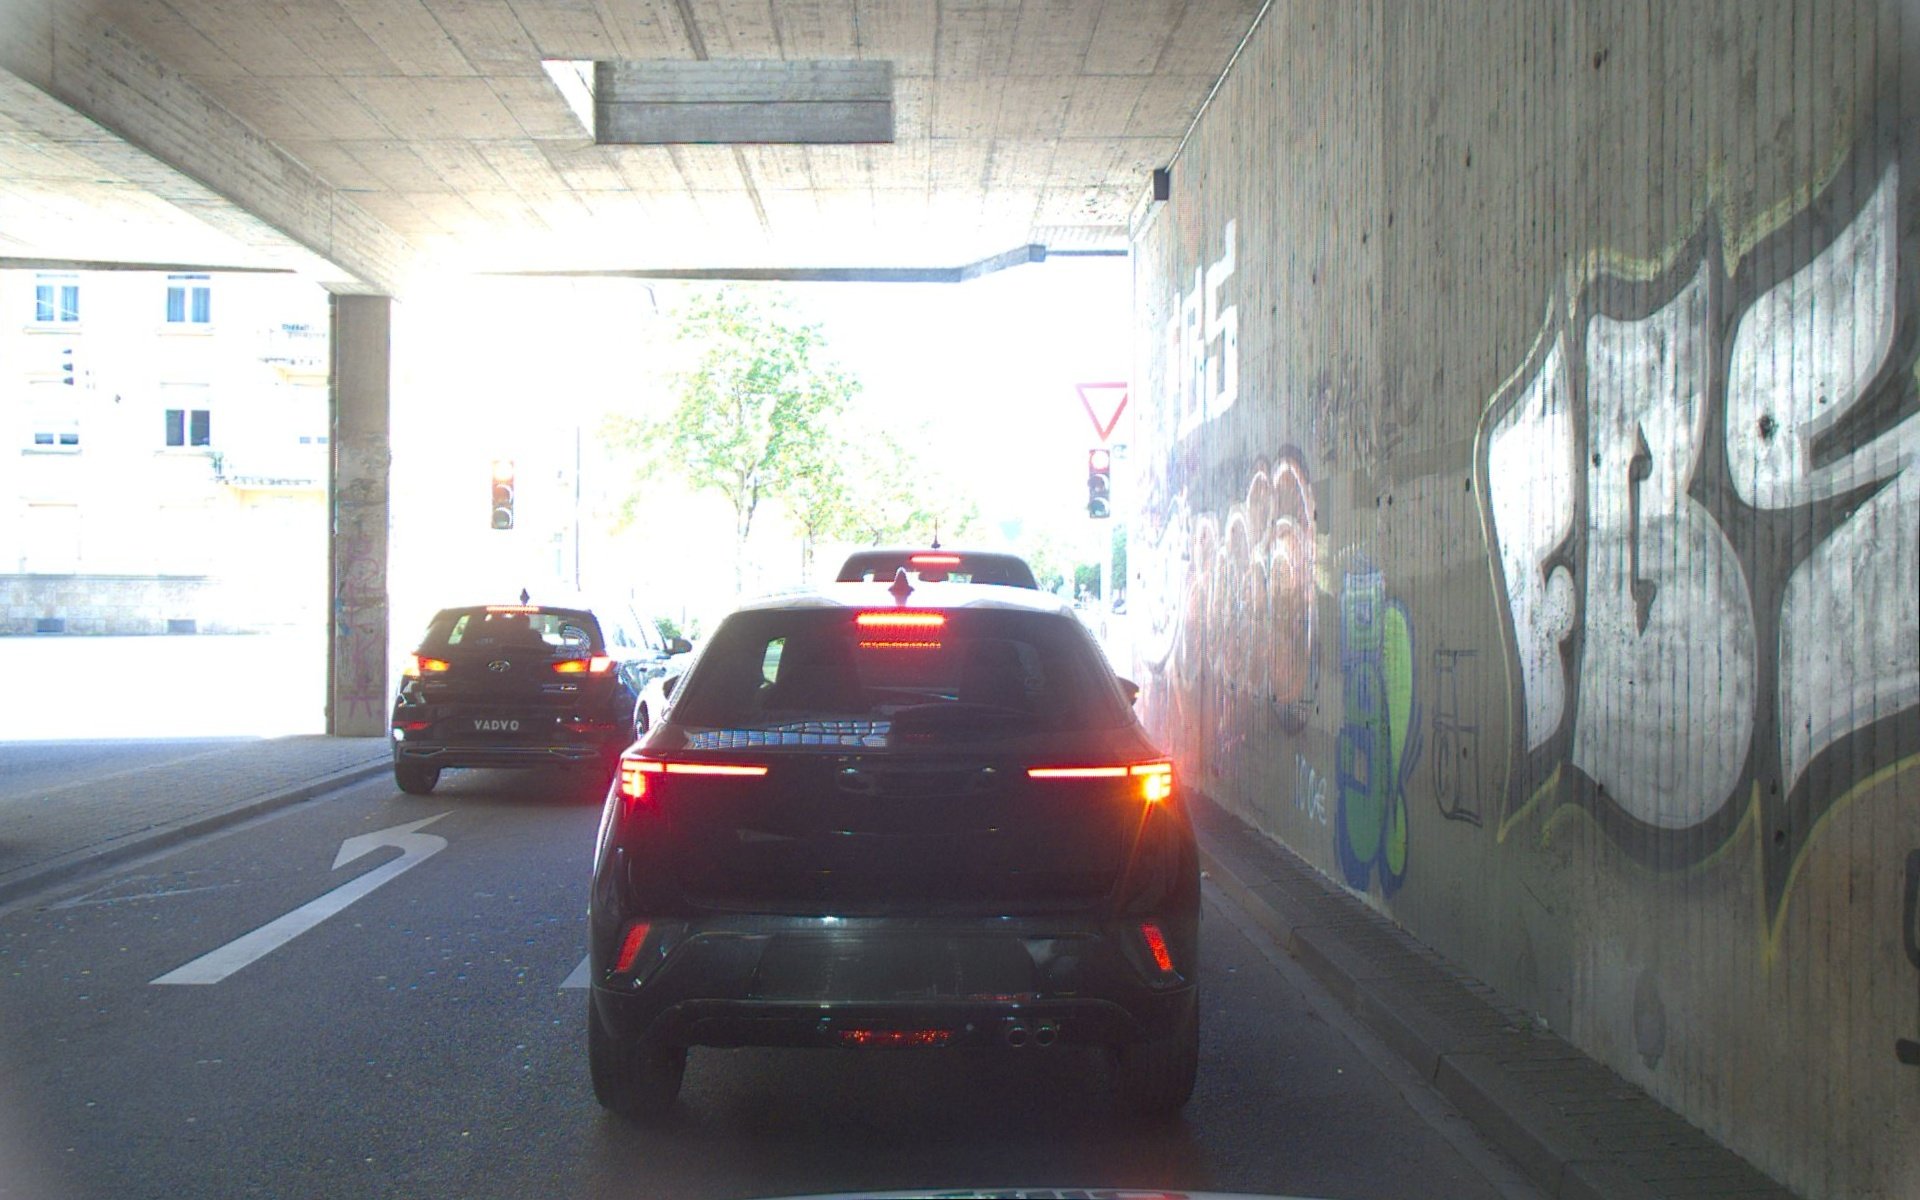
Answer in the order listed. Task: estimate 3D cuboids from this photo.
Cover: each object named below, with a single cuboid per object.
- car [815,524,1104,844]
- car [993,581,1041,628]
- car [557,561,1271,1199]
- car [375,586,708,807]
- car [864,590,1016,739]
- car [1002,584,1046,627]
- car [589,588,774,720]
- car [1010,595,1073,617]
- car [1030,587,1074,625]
[{"bbox_3d":[-0.030,0.501,12.012,1.726,1.915,4.145,0,0,-1],"label":"car"},{"bbox_3d":[2.181,0.180,62.207,1.717,1.696,3.946,1,0,3],"label":"car"},{"bbox_3d":[-0.136,0.683,6.067,1.726,1.558,4.088,0,0,-1],"label":"car"},{"bbox_3d":[-3.147,0.655,13.210,1.726,1.506,3.843,0,0,-1],"label":"car"},{"bbox_3d":[-0.236,0.667,19.226,1.576,1.539,4.053,0,0,-1],"label":"car"},{"bbox_3d":[2.671,0.214,68.333,1.717,1.696,3.946,1,0,3],"label":"car"},{"bbox_3d":[-3.417,0.616,20.931,1.726,1.506,3.843,0,0,-1],"label":"car"},{"bbox_3d":[6.594,0.510,133.848,4.732,1.696,1.812,1,0,-22],"label":"car"},{"bbox_3d":[4.424,0.289,78.902,1.716,1.696,3.947,1,0,8],"label":"car"}]
